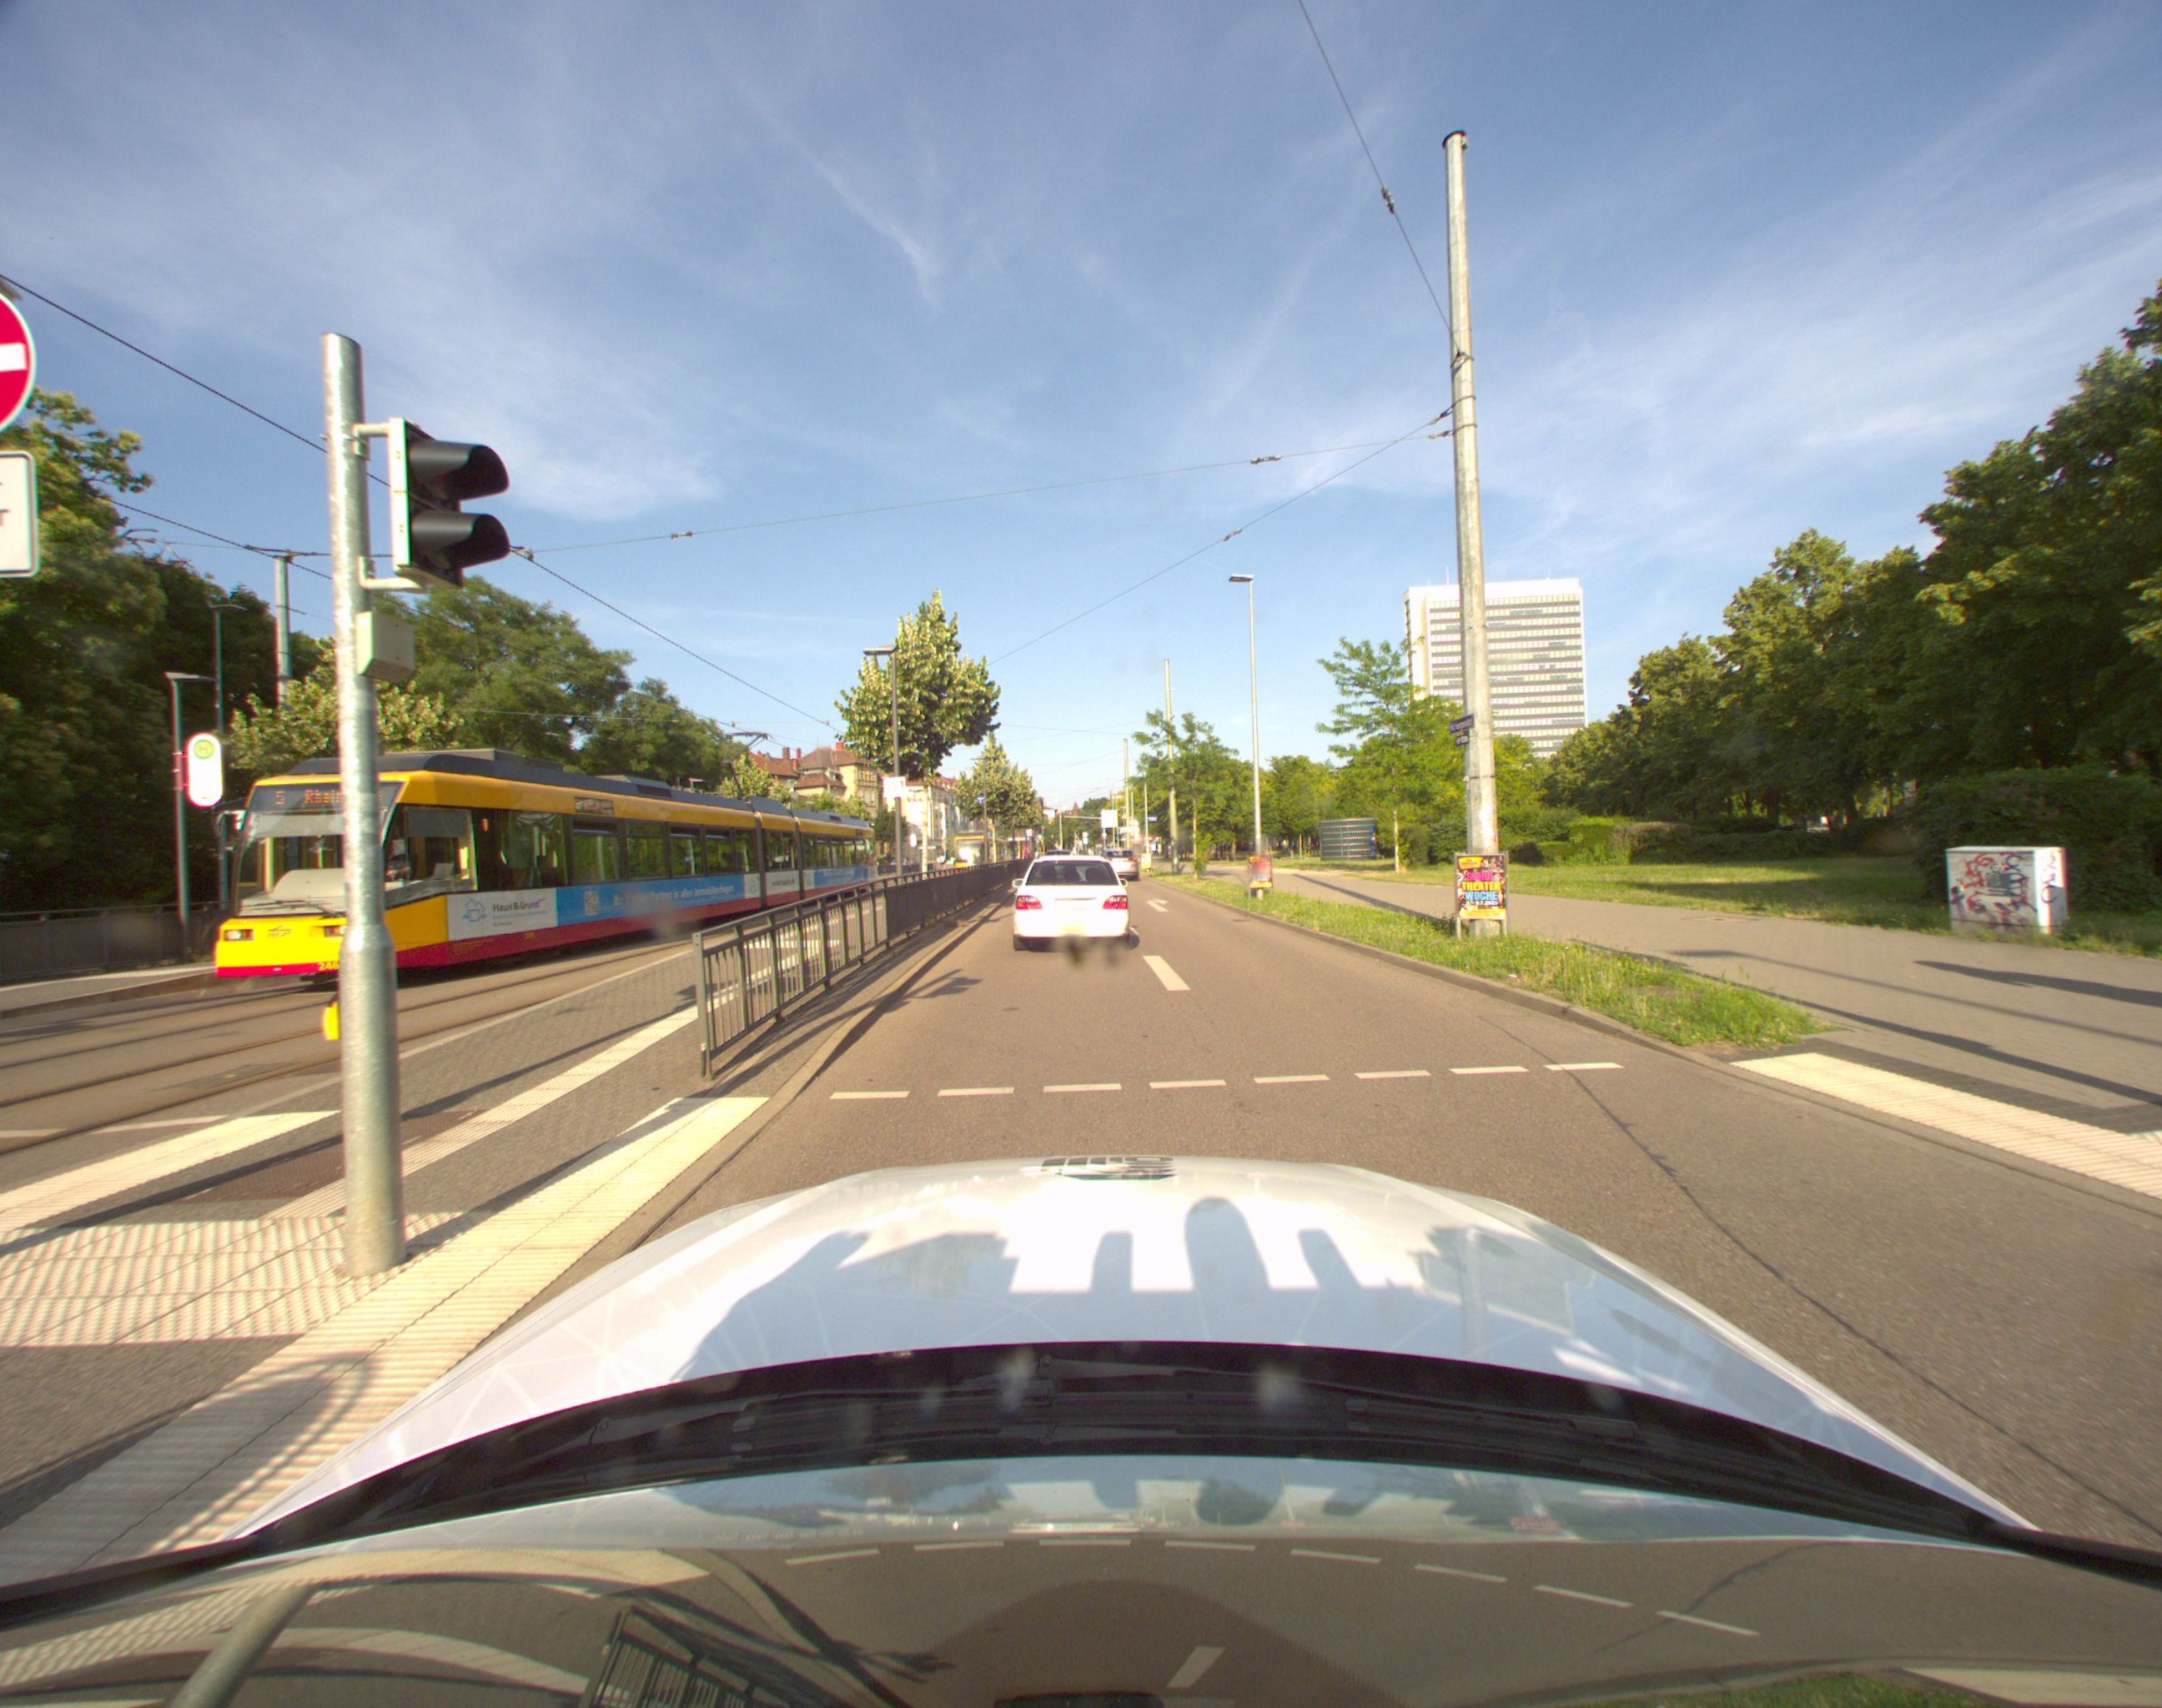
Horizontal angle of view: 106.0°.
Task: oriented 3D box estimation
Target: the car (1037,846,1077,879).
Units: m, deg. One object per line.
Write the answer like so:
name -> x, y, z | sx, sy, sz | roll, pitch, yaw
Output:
car -> -1.243, 0.422, 43.713 | 1.780, 1.690, 4.003 | -1, 0, 3

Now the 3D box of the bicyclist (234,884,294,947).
bicyclist -> -19.265, 1.426, 19.213 | 0.648, 1.413, 0.717 | -1, 0, 1

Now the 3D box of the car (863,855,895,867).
car -> -29.816, 0.962, 120.356 | 2.184, 1.628, 4.742 | -1, 0, 22

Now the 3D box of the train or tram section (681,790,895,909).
train or tram section -> -10.433, -0.180, 31.625 | 3.152, 3.479, 14.467 | -1, 0, -1

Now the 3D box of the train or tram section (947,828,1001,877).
train or tram section -> -8.376, -0.169, 65.515 | 2.841, 3.479, 13.193 | -1, 1, -1

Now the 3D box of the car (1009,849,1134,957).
car -> -0.032, 0.737, 13.503 | 1.751, 1.504, 4.003 | -1, -1, 3

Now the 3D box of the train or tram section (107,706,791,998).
train or tram section -> -10.262, -0.083, 17.171 | 3.152, 3.479, 14.527 | -1, 0, -1

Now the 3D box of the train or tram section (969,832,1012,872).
train or tram section -> -8.576, -0.241, 78.516 | 2.841, 3.479, 13.193 | -1, 0, -1

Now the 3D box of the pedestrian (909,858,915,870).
pedestrian -> -23.610, 1.404, 113.775 | 0.663, 1.753, 0.746 | -1, 0, 2

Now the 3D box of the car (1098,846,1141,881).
car -> 1.944, 0.435, 40.878 | 2.025, 1.605, 4.003 | -1, 0, 3

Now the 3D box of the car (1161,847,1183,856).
car -> 18.580, -0.505, 166.407 | 3.951, 1.651, 2.011 | -2, 0, 24
